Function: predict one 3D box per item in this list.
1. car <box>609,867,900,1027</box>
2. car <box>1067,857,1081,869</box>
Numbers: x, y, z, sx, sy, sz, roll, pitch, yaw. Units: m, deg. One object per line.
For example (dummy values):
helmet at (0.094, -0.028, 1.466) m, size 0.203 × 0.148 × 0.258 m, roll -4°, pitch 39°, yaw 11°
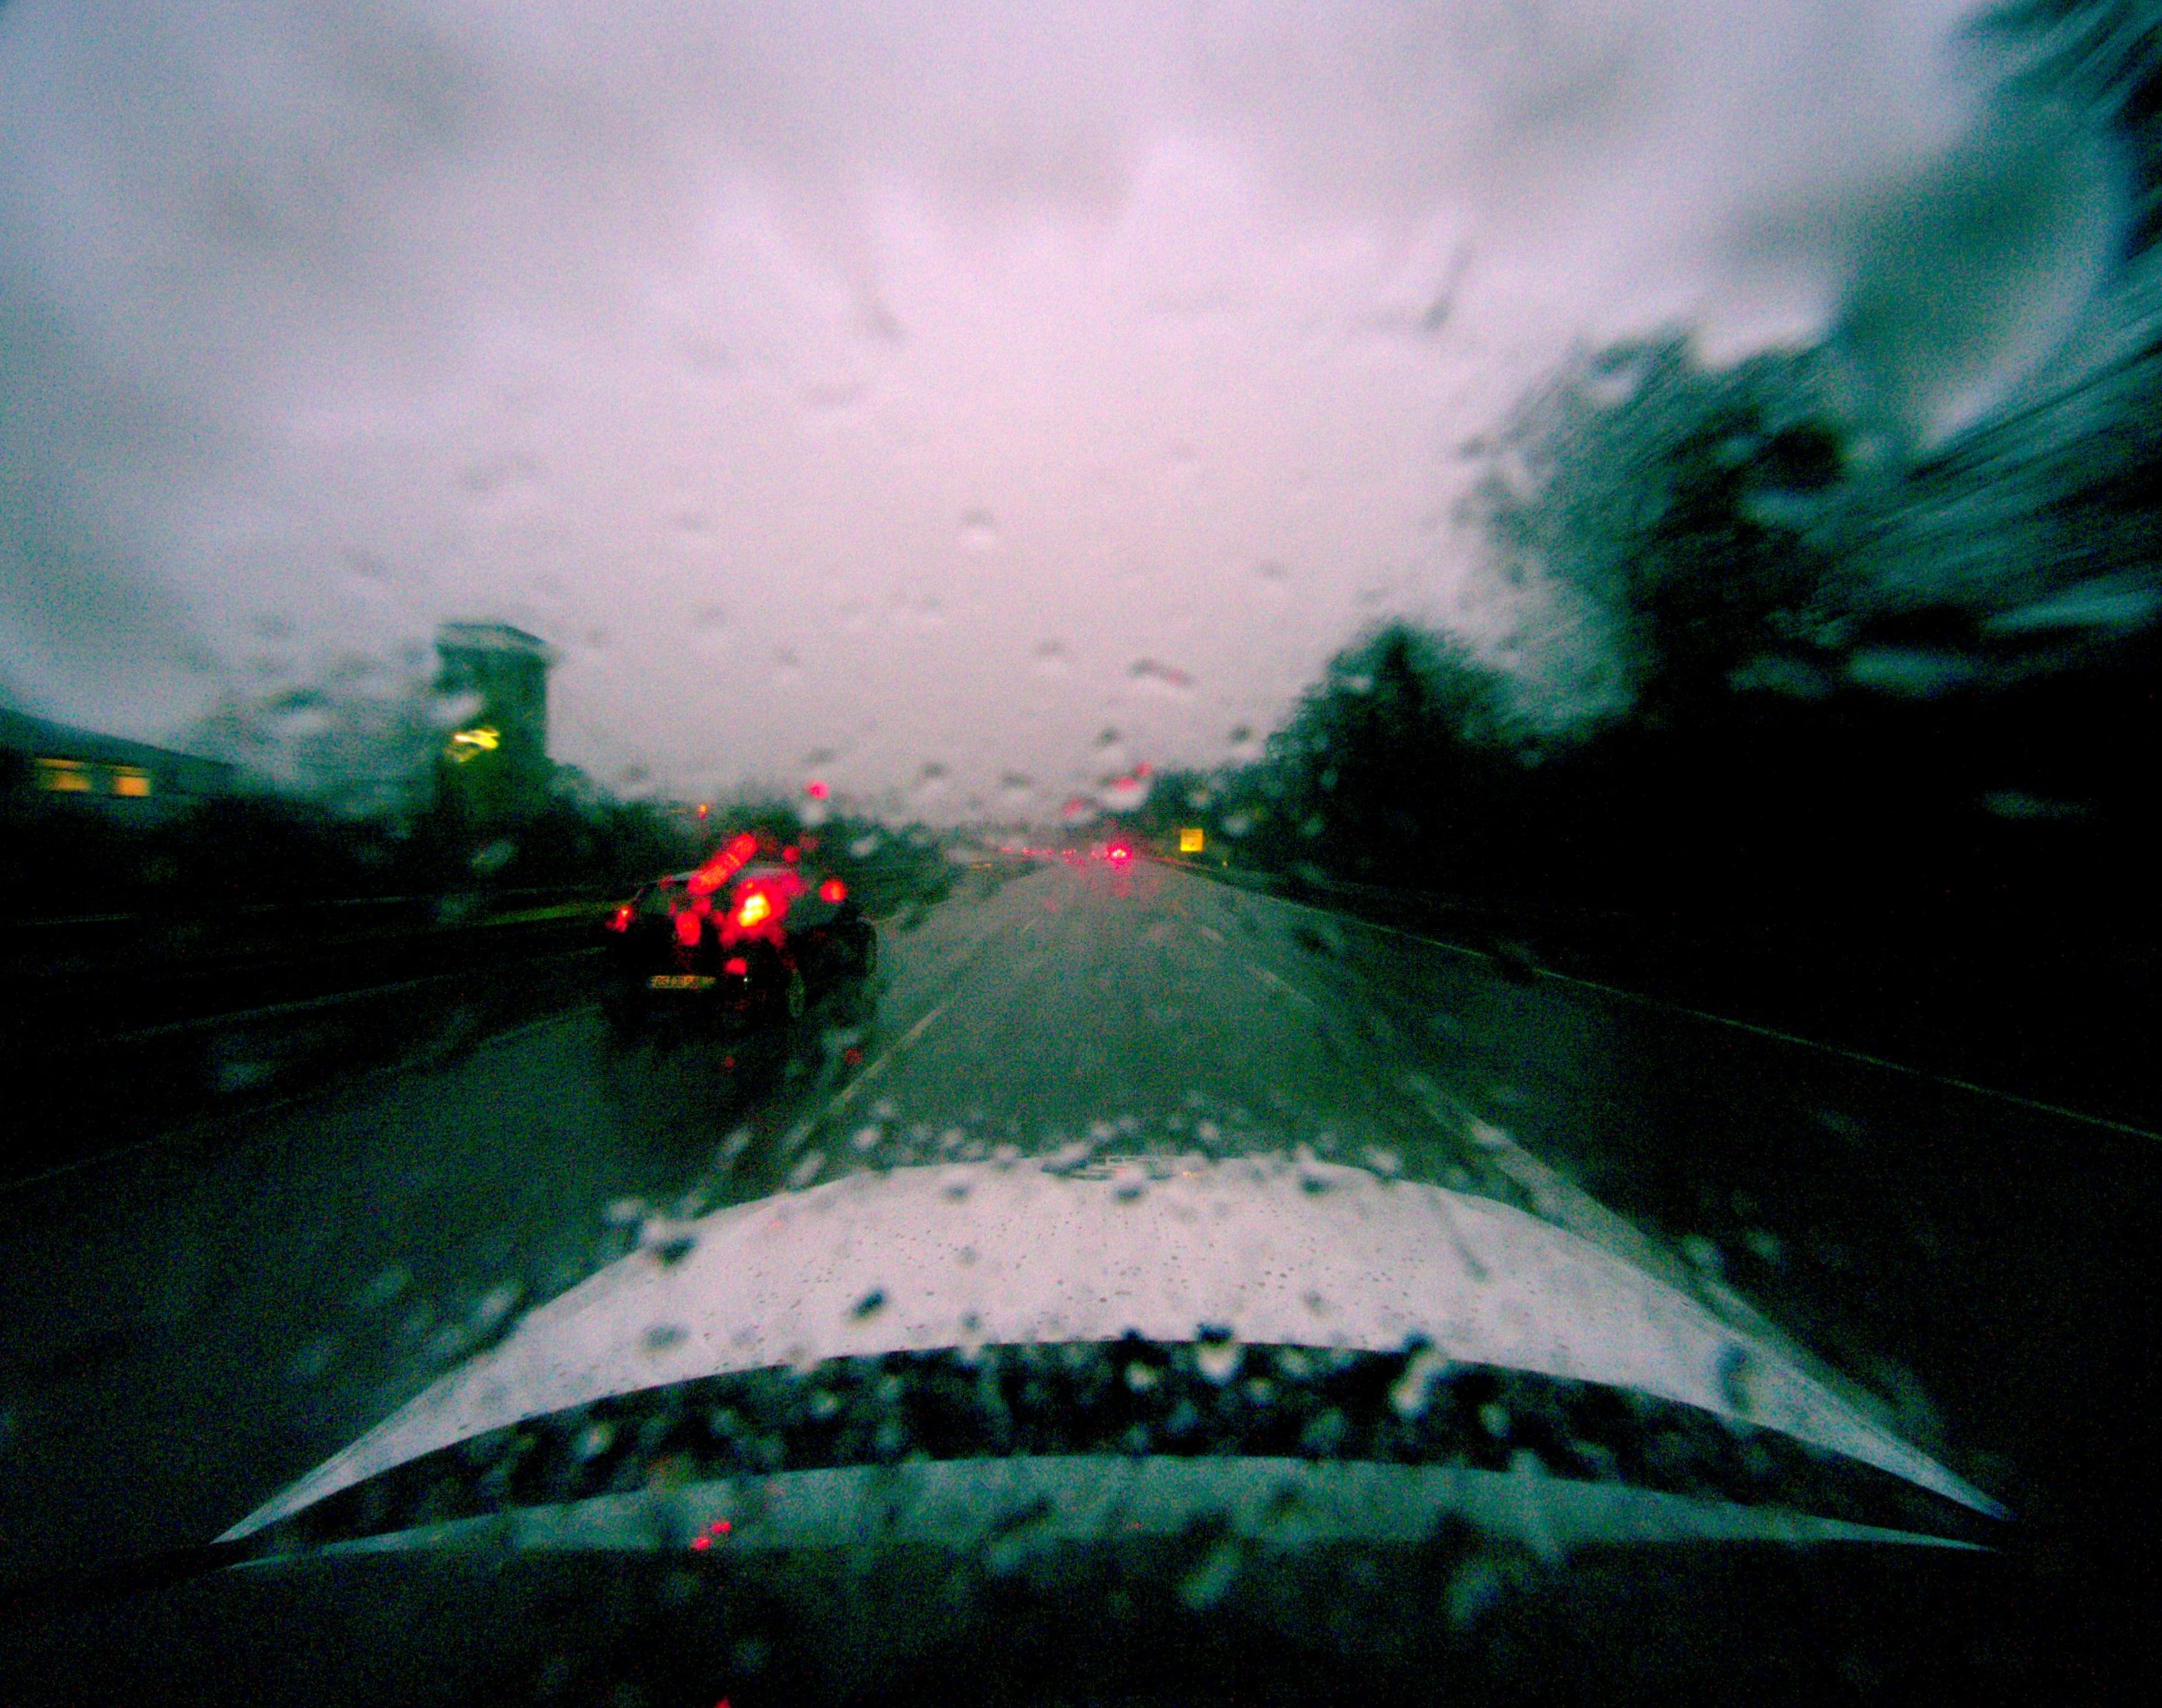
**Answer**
car at (-3.364, 0.861, 9.300) m, size 1.620 × 1.392 × 4.000 m, roll 1°, pitch -1°, yaw 1°
car at (-0.782, 0.976, 89.728) m, size 1.410 × 1.317 × 3.084 m, roll 1°, pitch 0°, yaw 2°
